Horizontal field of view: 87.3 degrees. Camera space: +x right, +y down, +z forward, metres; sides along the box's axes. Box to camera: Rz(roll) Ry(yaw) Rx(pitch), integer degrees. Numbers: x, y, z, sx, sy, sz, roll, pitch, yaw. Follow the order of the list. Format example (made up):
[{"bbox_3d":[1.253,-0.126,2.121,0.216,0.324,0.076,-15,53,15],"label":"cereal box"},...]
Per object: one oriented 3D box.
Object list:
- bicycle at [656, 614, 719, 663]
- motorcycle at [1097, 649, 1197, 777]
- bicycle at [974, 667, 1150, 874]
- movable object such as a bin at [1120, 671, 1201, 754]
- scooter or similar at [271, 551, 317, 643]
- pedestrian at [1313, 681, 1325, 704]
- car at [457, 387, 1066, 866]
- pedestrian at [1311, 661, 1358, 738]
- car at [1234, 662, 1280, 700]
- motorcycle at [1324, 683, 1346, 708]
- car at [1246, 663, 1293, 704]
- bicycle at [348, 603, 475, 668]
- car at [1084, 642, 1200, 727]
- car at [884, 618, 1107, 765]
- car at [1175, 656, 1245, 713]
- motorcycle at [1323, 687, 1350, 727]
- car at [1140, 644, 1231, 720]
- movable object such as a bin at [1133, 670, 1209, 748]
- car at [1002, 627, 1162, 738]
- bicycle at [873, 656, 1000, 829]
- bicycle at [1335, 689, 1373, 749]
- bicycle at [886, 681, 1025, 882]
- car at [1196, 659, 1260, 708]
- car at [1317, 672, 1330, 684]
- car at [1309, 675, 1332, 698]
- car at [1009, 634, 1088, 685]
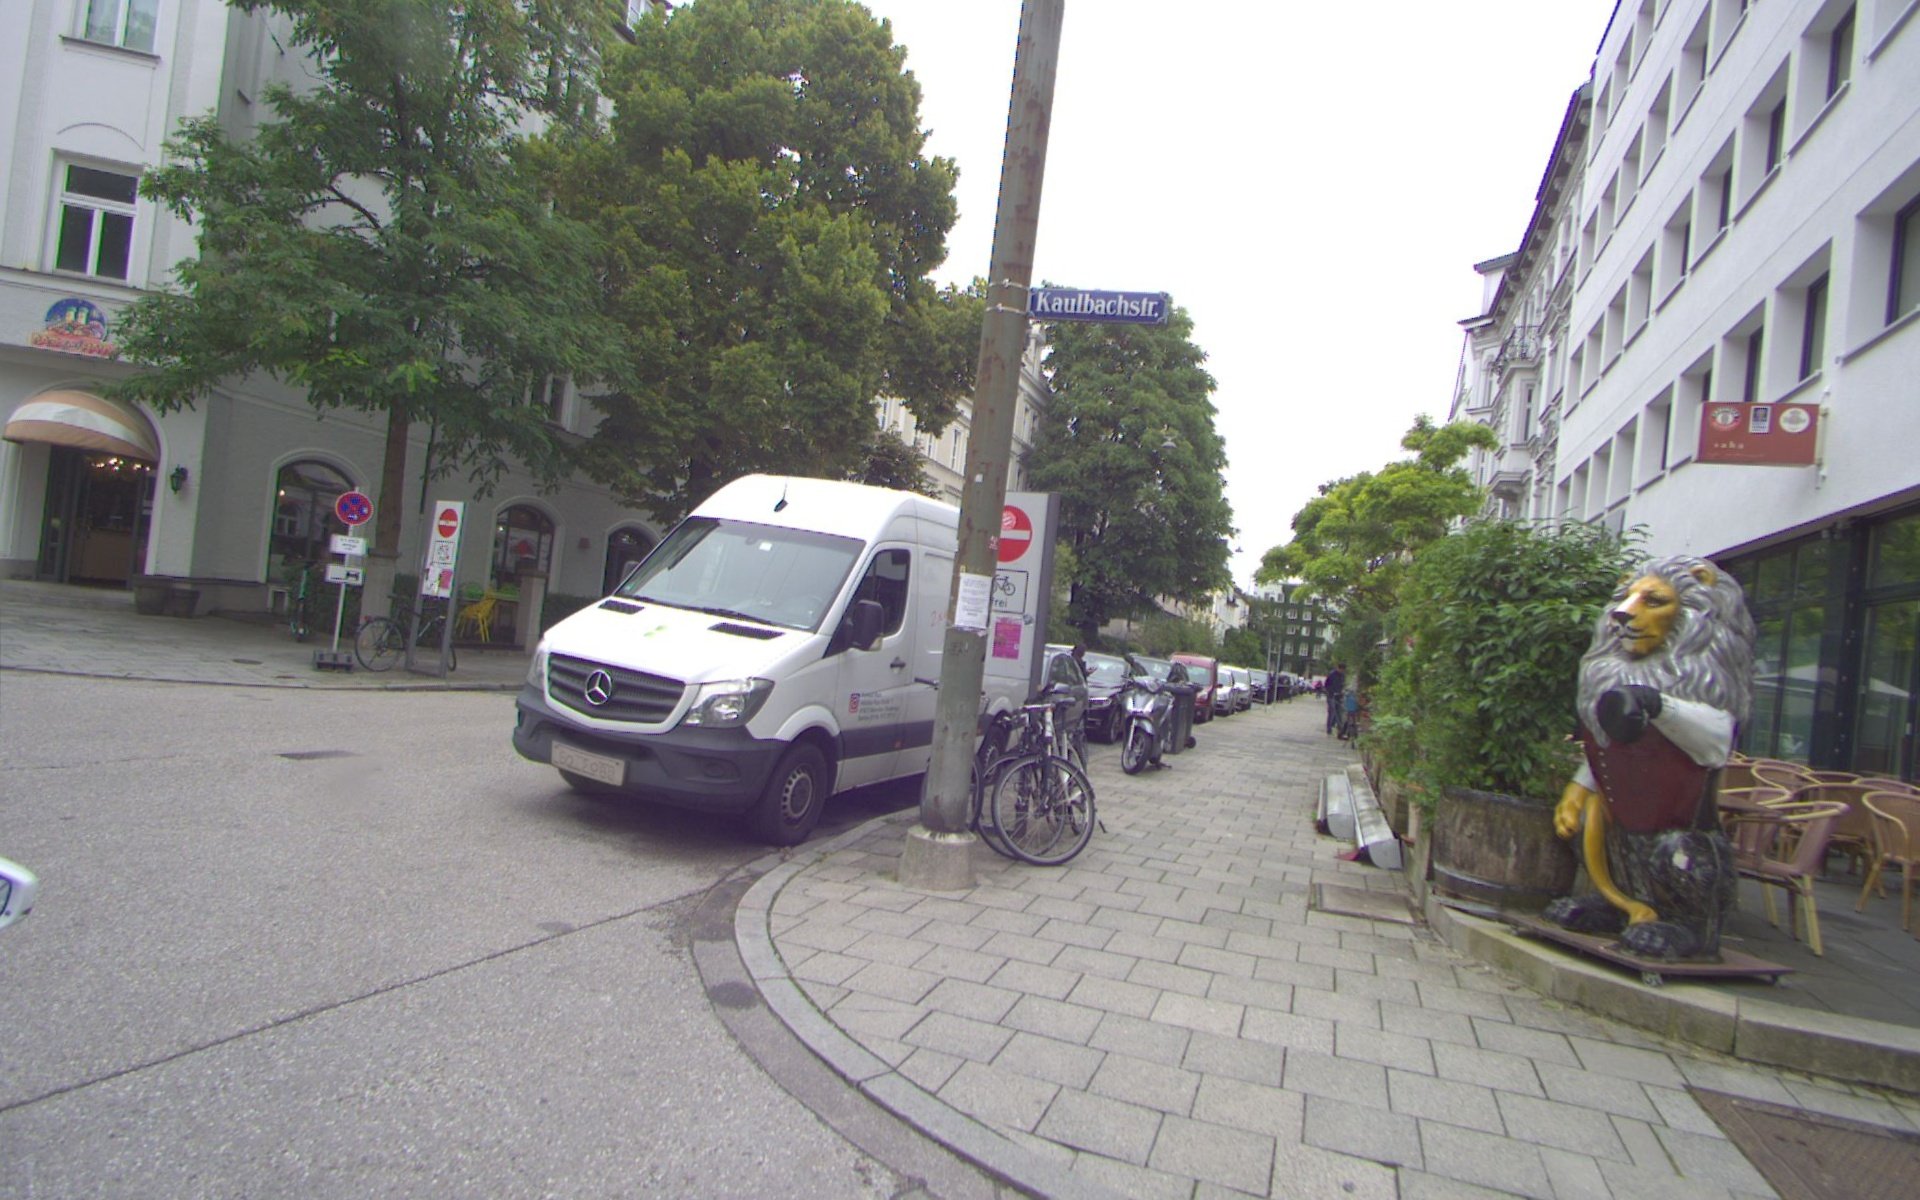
[{"bbox_3d":[-6.126,0.878,22.684,0.423,0.959,1.462,9,-1,25],"label":"bicycle"},{"bbox_3d":[2.390,1.381,12.624,0.646,1.401,2.178,6,-2,23],"label":"motorcycle"},{"bbox_3d":[0.764,1.074,6.858,0.581,1.140,1.908,6,-2,22],"label":"bicycle"},{"bbox_3d":[3.126,1.726,15.625,0.990,1.124,1.098,6,-2,19],"label":"movable object such as a bin"},{"bbox_3d":[-10.253,-0.069,15.485,0.425,1.294,1.267,8,0,-34],"label":"scooter or similar"},{"bbox_3d":[25.632,6.626,71.829,0.644,1.533,0.775,6,-1,24],"label":"pedestrian"},{"bbox_3d":[-1.018,0.295,8.763,2.022,2.621,5.915,8,-1,22],"label":"car"},{"bbox_3d":[8.958,2.391,24.070,0.715,1.735,0.686,6,-1,39],"label":"pedestrian"},{"bbox_3d":[16.022,4.354,54.209,1.963,1.703,4.485,6,-2,20],"label":"car"},{"bbox_3d":[19.460,4.957,52.161,0.831,1.181,2.341,6,-2,24],"label":"motorcycle"},{"bbox_3d":[16.533,4.444,53.612,1.963,1.837,4.002,6,-2,21],"label":"car"},{"bbox_3d":[-7.618,0.509,14.013,0.536,0.792,1.412,6,0,39],"label":"bicycle"},{"bbox_3d":[4.375,1.978,23.731,1.831,1.626,4.002,6,-2,21],"label":"car"},{"bbox_3d":[0.662,1.217,13.864,1.762,1.464,4.002,9,-1,20],"label":"car"},{"bbox_3d":[8.655,2.887,34.562,1.831,1.610,4.003,6,-2,19],"label":"car"},{"bbox_3d":[11.545,3.272,30.829,0.464,1.141,1.414,6,-2,28],"label":"motorcycle"},{"bbox_3d":[6.475,2.310,28.596,1.898,1.762,4.003,6,-2,19],"label":"car"},{"bbox_3d":[3.515,1.783,16.676,0.990,1.124,1.098,6,-2,19],"label":"movable object such as a bin"},{"bbox_3d":[2.399,1.528,18.764,1.778,1.587,4.255,8,-1,22],"label":"car"},{"bbox_3d":[-0.126,0.979,7.306,0.363,1.084,1.509,6,-2,17],"label":"bicycle"},{"bbox_3d":[8.153,2.445,20.791,0.464,1.141,1.414,6,-2,28],"label":"bicycle"},{"bbox_3d":[0.004,1.113,6.500,0.333,1.141,1.182,6,-1,24],"label":"bicycle"},{"bbox_3d":[10.647,3.286,39.767,1.899,1.610,4.169,6,-2,20],"label":"car"},{"bbox_3d":[70.263,15.028,194.502,1.963,2.037,4.456,6,-2,21],"label":"car"},{"bbox_3d":[37.505,9.010,104.701,1.963,2.037,4.514,6,-2,20],"label":"car"},{"bbox_3d":[3.330,2.221,36.995,1.778,1.636,4.002,4,-3,21],"label":"car"}]
